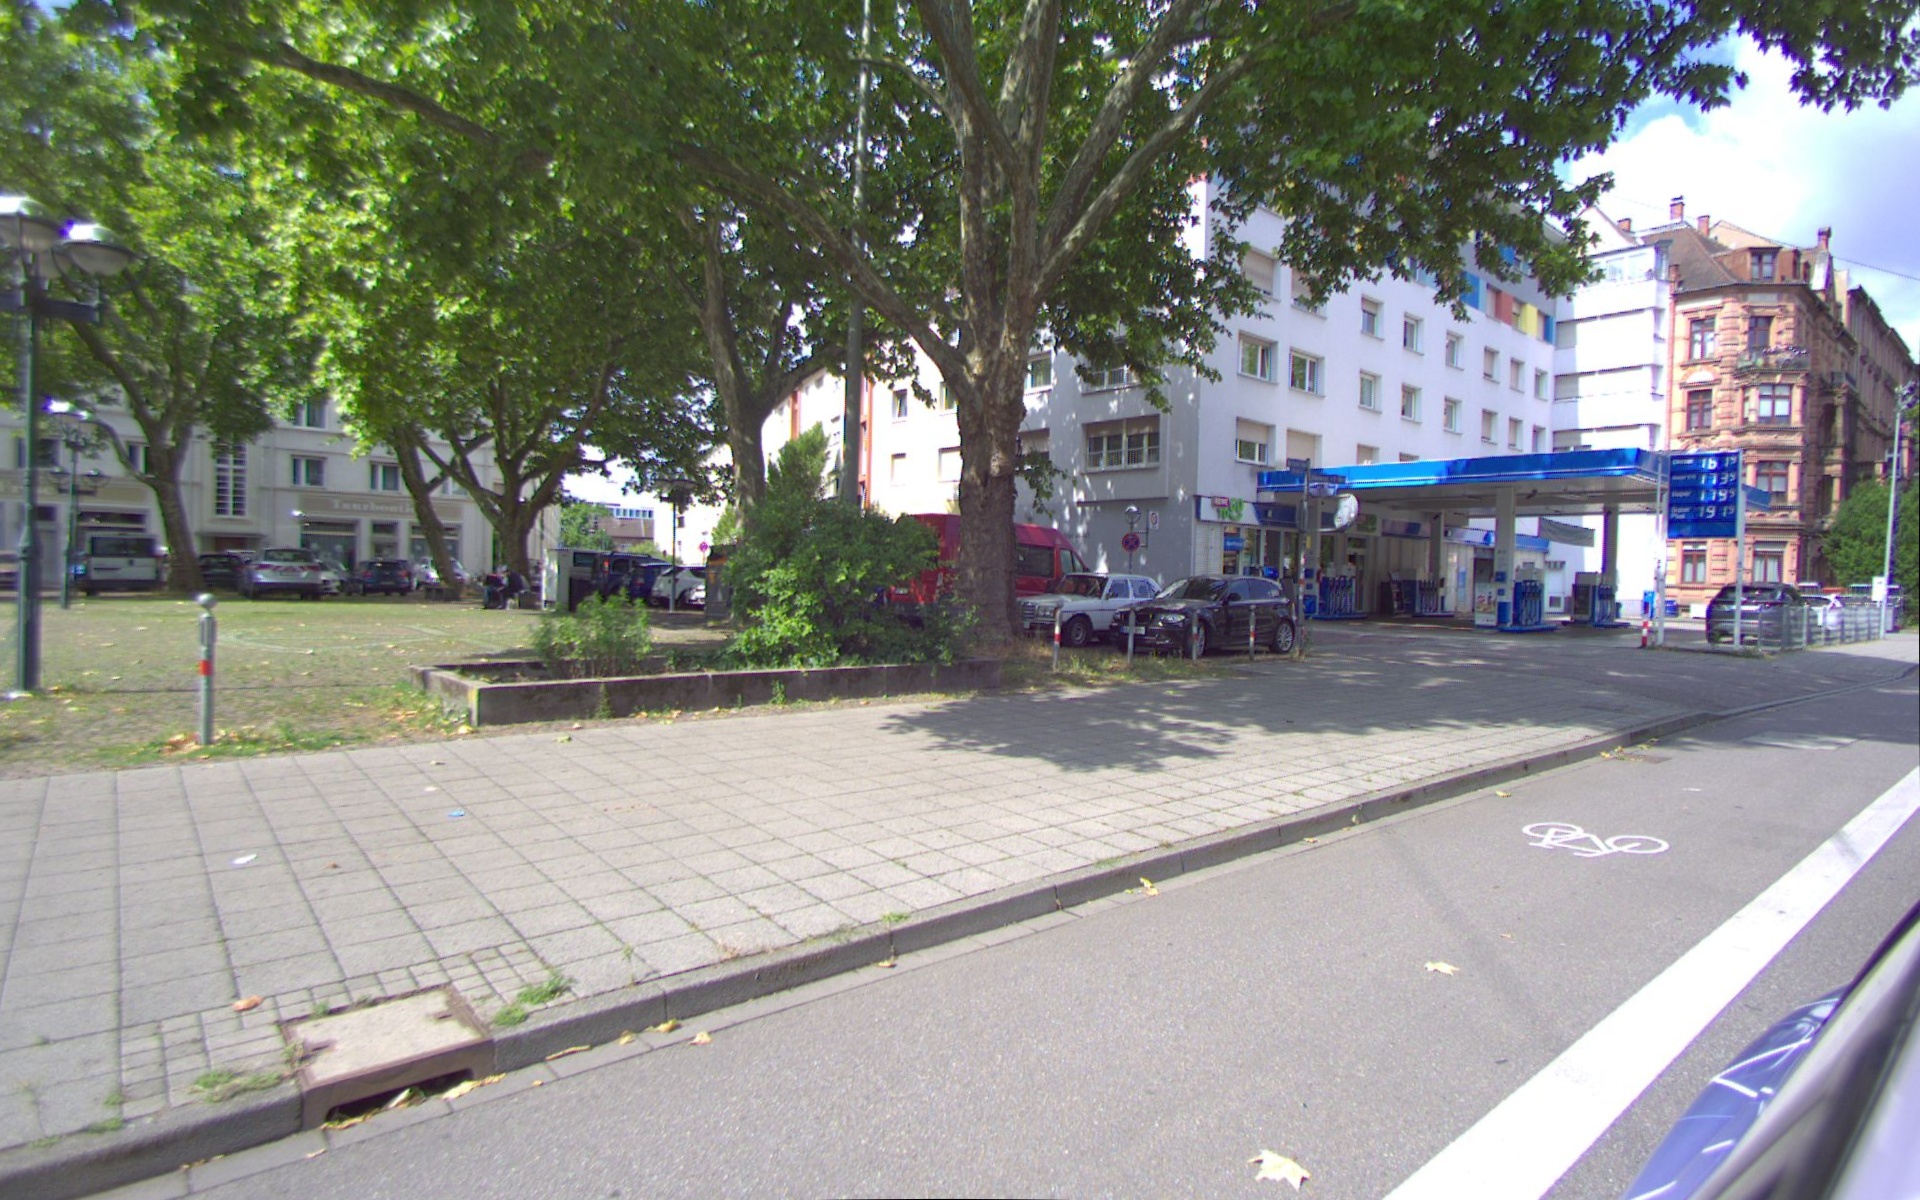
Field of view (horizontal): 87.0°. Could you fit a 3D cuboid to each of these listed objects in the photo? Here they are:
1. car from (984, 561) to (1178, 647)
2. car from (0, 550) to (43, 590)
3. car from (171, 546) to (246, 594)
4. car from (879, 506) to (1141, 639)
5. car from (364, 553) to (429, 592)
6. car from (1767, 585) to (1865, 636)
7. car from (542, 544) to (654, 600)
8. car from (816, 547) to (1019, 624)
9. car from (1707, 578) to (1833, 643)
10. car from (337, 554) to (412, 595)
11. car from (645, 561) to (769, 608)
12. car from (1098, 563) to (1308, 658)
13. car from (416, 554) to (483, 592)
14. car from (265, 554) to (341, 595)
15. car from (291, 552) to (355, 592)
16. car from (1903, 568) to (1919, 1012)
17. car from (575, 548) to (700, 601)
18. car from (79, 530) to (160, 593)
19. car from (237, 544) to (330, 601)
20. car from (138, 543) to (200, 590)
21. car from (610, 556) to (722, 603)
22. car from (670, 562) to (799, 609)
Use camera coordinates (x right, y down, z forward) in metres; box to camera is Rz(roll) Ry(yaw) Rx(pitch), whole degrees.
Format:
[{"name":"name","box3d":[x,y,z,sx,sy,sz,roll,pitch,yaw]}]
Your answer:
[{"name":"car","box3d":[2.454,0.051,19.876,3.976,1.488,1.650,0,2,-44]},{"name":"car","box3d":[-38.880,-1.256,41.250,2.001,1.569,4.692,0,2,-40]},{"name":"car","box3d":[-27.318,-1.102,36.722,1.964,1.614,4.264,0,2,-40]},{"name":"car","box3d":[1.243,-0.560,22.603,5.911,2.614,2.117,0,2,-39]},{"name":"car","box3d":[-28.024,-1.372,50.269,2.151,1.827,4.695,0,2,-38]},{"name":"car","box3d":[27.250,0.304,32.172,3.932,1.473,1.809,0,1,-41]},{"name":"car","box3d":[-13.689,-1.061,38.319,3.581,2.012,1.824,0,2,-43]},{"name":"car","box3d":[-0.950,-0.319,24.294,4.568,1.672,2.011,0,0,-39]},{"name":"car","box3d":[22.116,0.247,27.576,4.501,1.622,1.810,0,1,-40]},{"name":"car","box3d":[-23.648,-1.040,40.823,1.964,1.543,4.162,0,2,-40]},{"name":"car","box3d":[-8.192,-0.492,32.945,3.581,1.433,1.647,0,0,-43]},{"name":"car","box3d":[4.401,0.151,18.028,3.973,1.488,1.651,0,2,-42]},{"name":"car","box3d":[-26.138,-1.399,51.742,2.151,1.827,4.757,0,2,-38]},{"name":"car","box3d":[-24.827,-0.978,38.205,1.924,1.439,4.174,0,2,-40]},{"name":"car","box3d":[-30.656,-1.380,48.618,2.151,1.827,4.757,0,2,-38]},{"name":"car","box3d":[5.353,0.617,4.051,4.487,1.480,1.799,0,2,-41]},{"name":"car","box3d":[-11.768,-0.891,37.074,3.979,1.843,1.824,0,0,-43]},{"name":"car","box3d":[-29.094,-1.337,35.072,2.040,2.038,4.264,0,2,-40]},{"name":"car","box3d":[-20.984,-0.873,31.332,1.964,1.656,4.162,0,2,-40]},{"name":"car","box3d":[-35.034,-1.493,44.788,2.001,1.953,4.692,0,2,-40]},{"name":"car","box3d":[-10.033,-0.680,34.660,3.320,1.527,1.600,0,0,-43]},{"name":"car","box3d":[-6.887,-0.425,31.099,3.581,1.380,1.582,0,0,-43]}]
